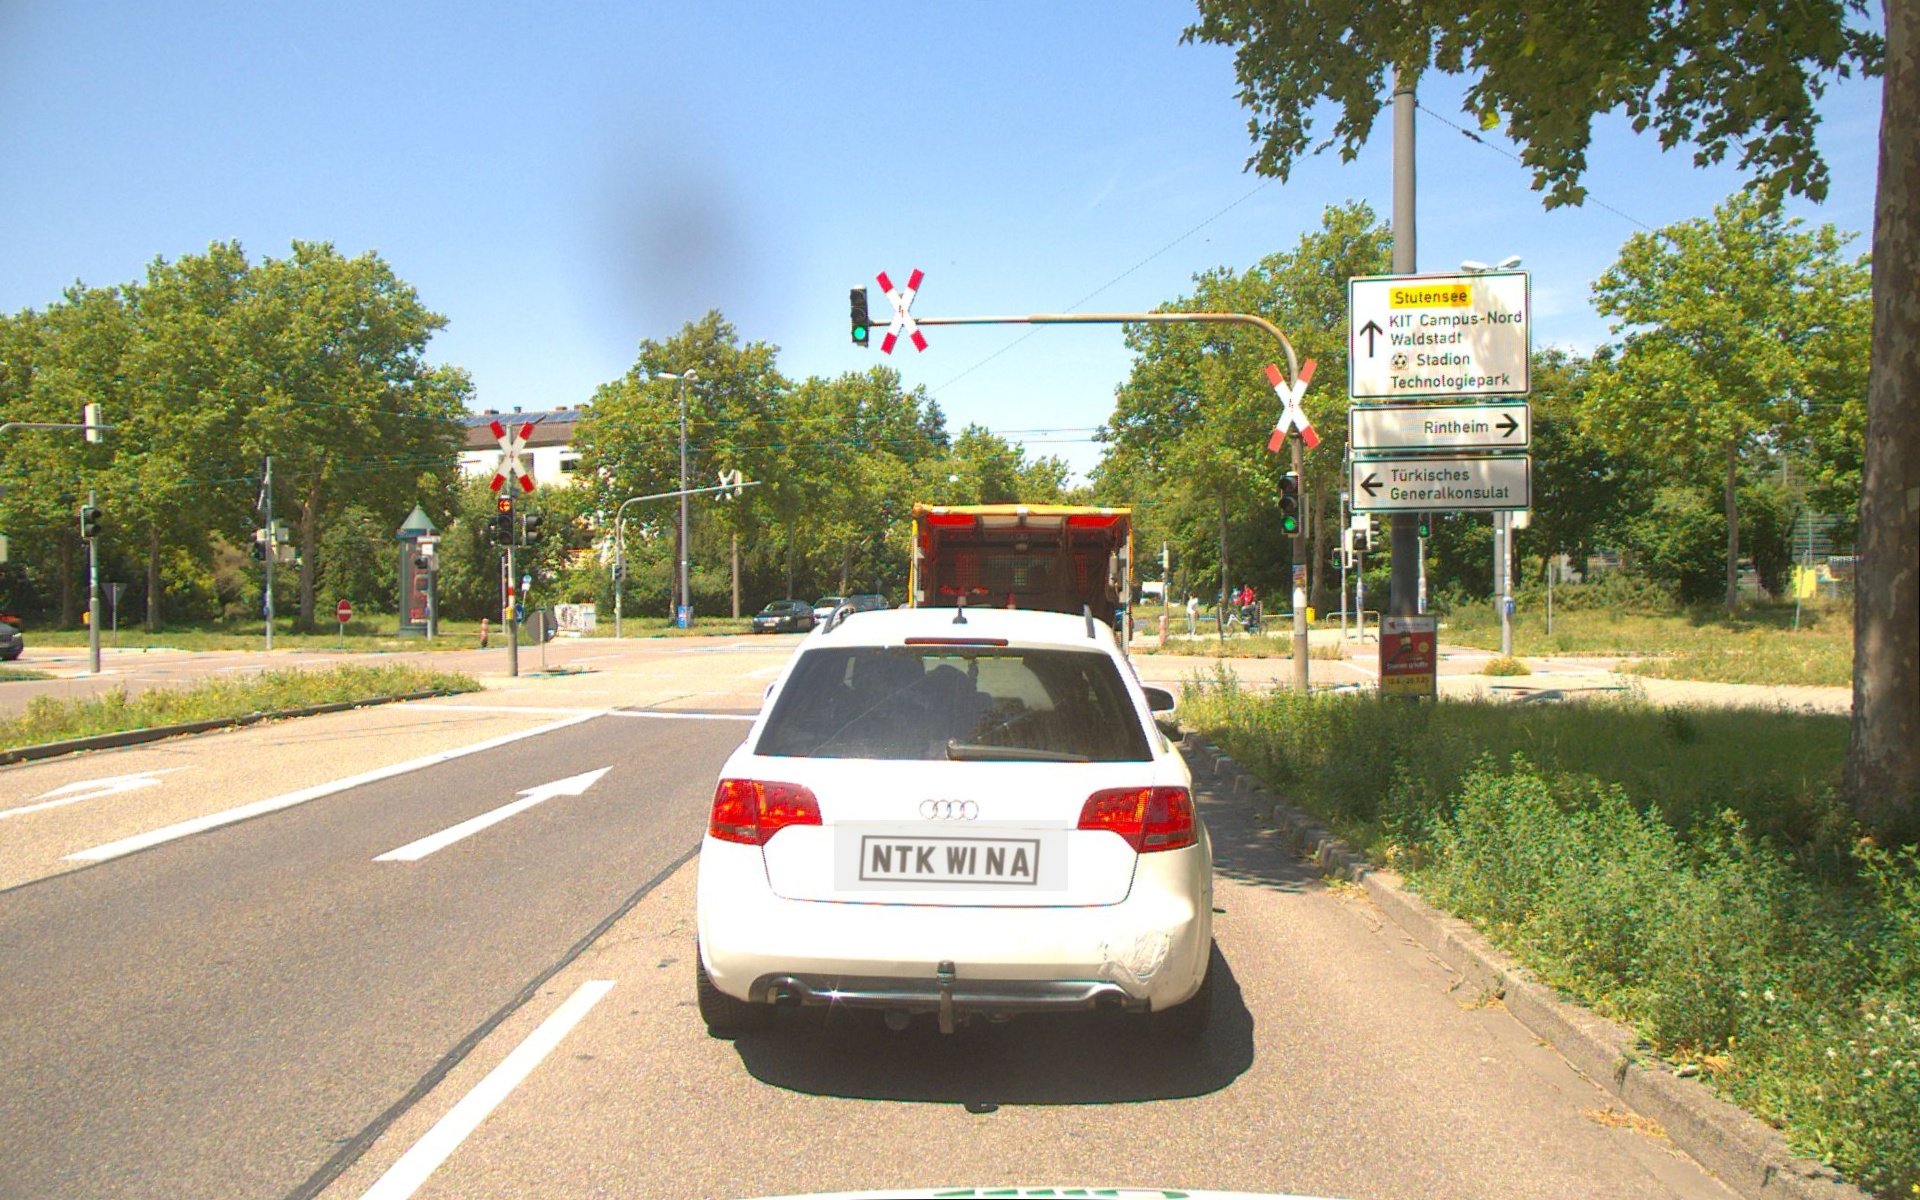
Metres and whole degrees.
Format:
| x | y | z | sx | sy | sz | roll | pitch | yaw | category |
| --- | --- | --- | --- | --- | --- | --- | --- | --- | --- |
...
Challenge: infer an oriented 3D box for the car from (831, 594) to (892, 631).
| x | y | z | sx | sy | sz | roll | pitch | yaw | category |
| --- | --- | --- | --- | --- | --- | --- | --- | --- | --- |
| -4.379 | 0.537 | 74.054 | 1.868 | 1.566 | 4.302 | -1 | 0 | 8 | car |

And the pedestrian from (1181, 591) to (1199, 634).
| x | y | z | sx | sy | sz | roll | pitch | yaw | category |
| --- | --- | --- | --- | --- | --- | --- | --- | --- | --- |
| 8.146 | 0.430 | 58.460 | 0.541 | 1.510 | 0.630 | -1 | 0 | 16 | pedestrian |

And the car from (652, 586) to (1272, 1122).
| x | y | z | sx | sy | sz | roll | pitch | yaw | category |
| --- | --- | --- | --- | --- | --- | --- | --- | --- | --- |
| 0.104 | 0.695 | 6.432 | 1.725 | 1.470 | 3.617 | 0 | 0 | 3 | car |

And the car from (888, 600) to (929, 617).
| x | y | z | sx | sy | sz | roll | pitch | yaw | category |
| --- | --- | --- | --- | --- | --- | --- | --- | --- | --- |
| -4.337 | 0.717 | 139.111 | 1.844 | 1.417 | 3.997 | 0 | 0 | 26 | car |

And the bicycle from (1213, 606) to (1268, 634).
| x | y | z | sx | sy | sz | roll | pitch | yaw | category |
| --- | --- | --- | --- | --- | --- | --- | --- | --- | --- |
| 9.484 | 0.682 | 55.917 | 1.767 | 0.911 | 0.589 | 0 | 0 | 4 | bicycle |

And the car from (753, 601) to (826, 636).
| x | y | z | sx | sy | sz | roll | pitch | yaw | category |
| --- | --- | --- | --- | --- | --- | --- | --- | --- | --- |
| -7.543 | 0.805 | 73.521 | 1.907 | 1.465 | 4.751 | 0 | 1 | 11 | car |

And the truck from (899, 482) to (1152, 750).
| x | y | z | sx | sy | sz | roll | pitch | yaw | category |
| --- | --- | --- | --- | --- | --- | --- | --- | --- | --- |
| 0.799 | 0.168 | 20.122 | 2.459 | 2.604 | 7.605 | 1 | 0 | 2 | truck |

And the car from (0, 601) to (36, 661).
| x | y | z | sx | sy | sz | roll | pitch | yaw | category |
| --- | --- | --- | --- | --- | --- | --- | --- | --- | --- |
| -25.434 | 0.779 | 41.997 | 3.907 | 1.483 | 1.760 | -1 | 0 | 32 | car |

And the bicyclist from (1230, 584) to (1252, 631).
| x | y | z | sx | sy | sz | roll | pitch | yaw | category |
| --- | --- | --- | --- | --- | --- | --- | --- | --- | --- |
| 9.508 | 0.250 | 55.924 | 0.657 | 1.583 | 0.580 | -1 | 0 | 4 | bicyclist |

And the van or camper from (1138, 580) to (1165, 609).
| x | y | z | sx | sy | sz | roll | pitch | yaw | category |
| --- | --- | --- | --- | --- | --- | --- | --- | --- | --- |
| 23.385 | -0.671 | 201.804 | 2.604 | 3.389 | 5.505 | 0 | 0 | 14 | van or camper |

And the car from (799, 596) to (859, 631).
| x | y | z | sx | sy | sz | roll | pitch | yaw | category |
| --- | --- | --- | --- | --- | --- | --- | --- | --- | --- |
| -6.367 | 0.638 | 80.694 | 1.749 | 1.643 | 4.408 | -1 | 0 | 11 | car |
